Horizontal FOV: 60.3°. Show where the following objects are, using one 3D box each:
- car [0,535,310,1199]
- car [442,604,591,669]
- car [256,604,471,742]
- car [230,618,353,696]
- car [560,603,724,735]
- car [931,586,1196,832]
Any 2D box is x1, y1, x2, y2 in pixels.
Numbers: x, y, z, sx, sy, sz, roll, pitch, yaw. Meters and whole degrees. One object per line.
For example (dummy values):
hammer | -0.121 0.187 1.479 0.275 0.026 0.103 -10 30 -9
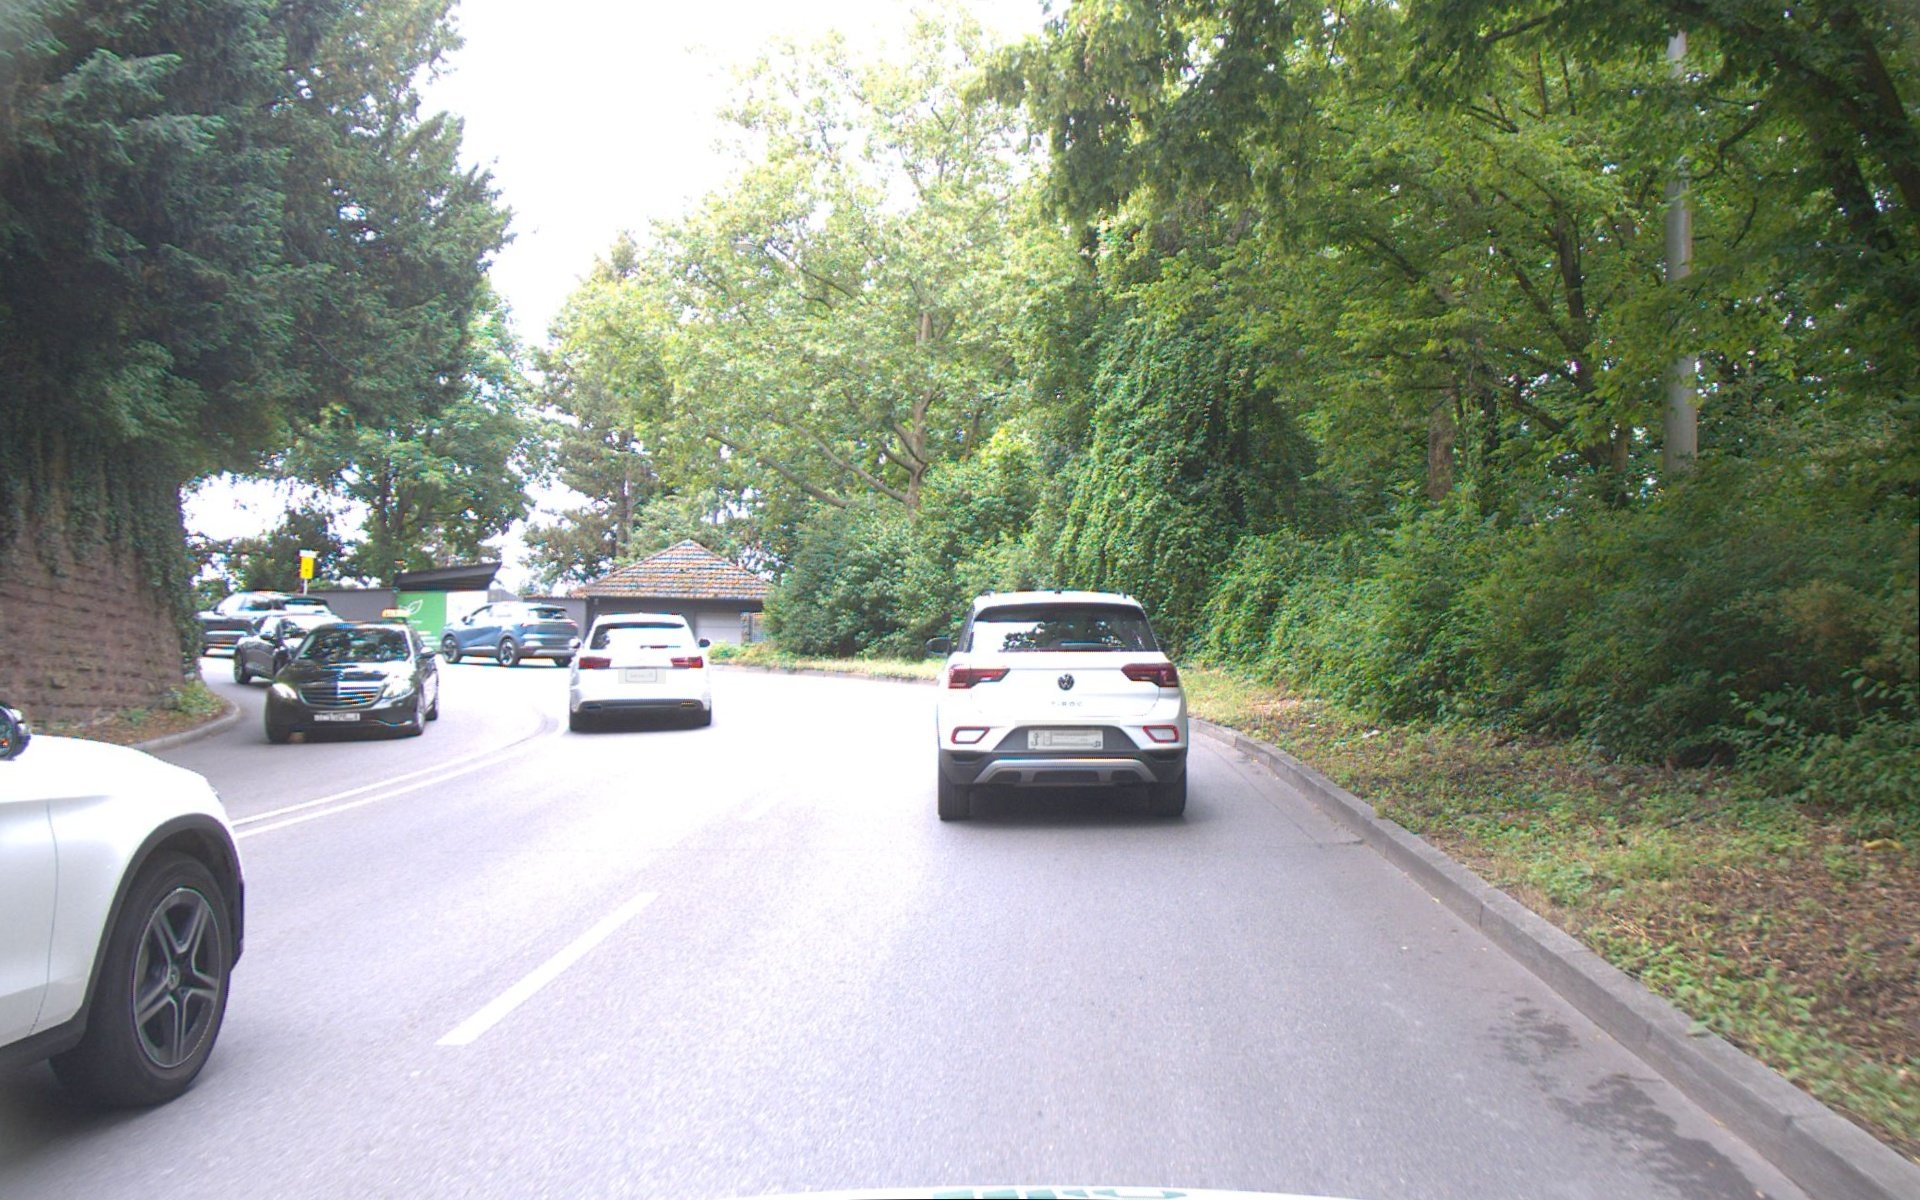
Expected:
car | -3.207 0.653 3.450 1.820 1.634 4.670 0 -1 0
car | -11.153 0.881 41.524 3.948 1.527 1.666 0 1 40
car | -7.899 0.914 22.346 1.827 1.625 4.621 -1 -1 -8
car | -12.914 1.054 31.827 1.751 1.363 3.922 -1 0 -29
car | -4.477 0.866 22.753 1.834 1.561 4.757 -2 0 -15
car | 0.908 0.702 12.868 1.717 1.580 4.340 0 0 6
